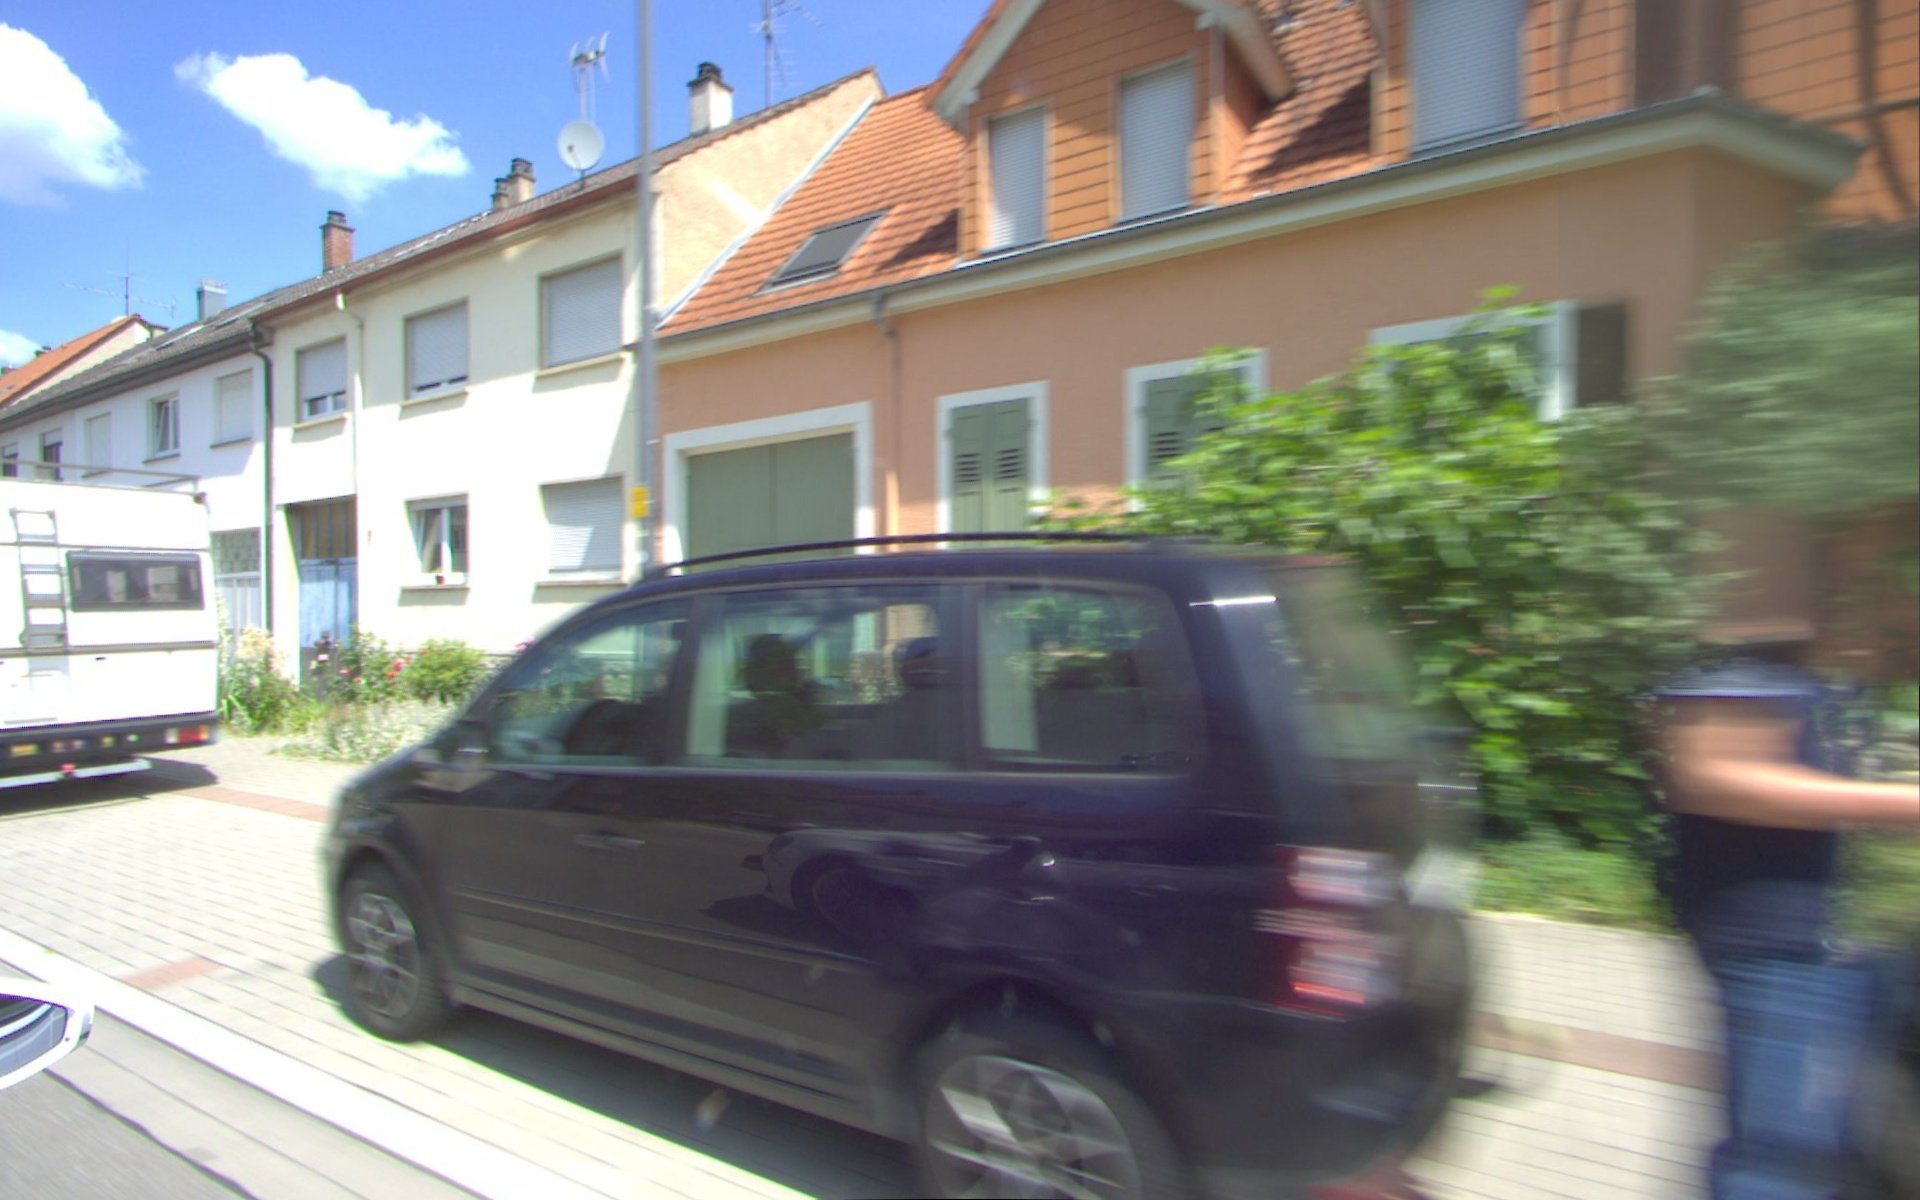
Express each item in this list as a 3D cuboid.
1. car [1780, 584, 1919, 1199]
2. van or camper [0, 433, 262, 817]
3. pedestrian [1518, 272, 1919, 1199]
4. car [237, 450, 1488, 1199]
[{"bbox_3d":[3.643,0.700,0.907,4.233,1.508,1.764,-1,-1,31],"label":"car"},{"bbox_3d":[-9.281,0.202,9.351,5.706,2.848,2.468,0,1,32],"label":"van or camper"},{"bbox_3d":[1.339,0.499,1.777,0.570,1.877,0.715,0,-1,32],"label":"pedestrian"},{"bbox_3d":[-0.601,0.663,3.555,4.263,1.727,1.763,-1,-1,33],"label":"car"}]
